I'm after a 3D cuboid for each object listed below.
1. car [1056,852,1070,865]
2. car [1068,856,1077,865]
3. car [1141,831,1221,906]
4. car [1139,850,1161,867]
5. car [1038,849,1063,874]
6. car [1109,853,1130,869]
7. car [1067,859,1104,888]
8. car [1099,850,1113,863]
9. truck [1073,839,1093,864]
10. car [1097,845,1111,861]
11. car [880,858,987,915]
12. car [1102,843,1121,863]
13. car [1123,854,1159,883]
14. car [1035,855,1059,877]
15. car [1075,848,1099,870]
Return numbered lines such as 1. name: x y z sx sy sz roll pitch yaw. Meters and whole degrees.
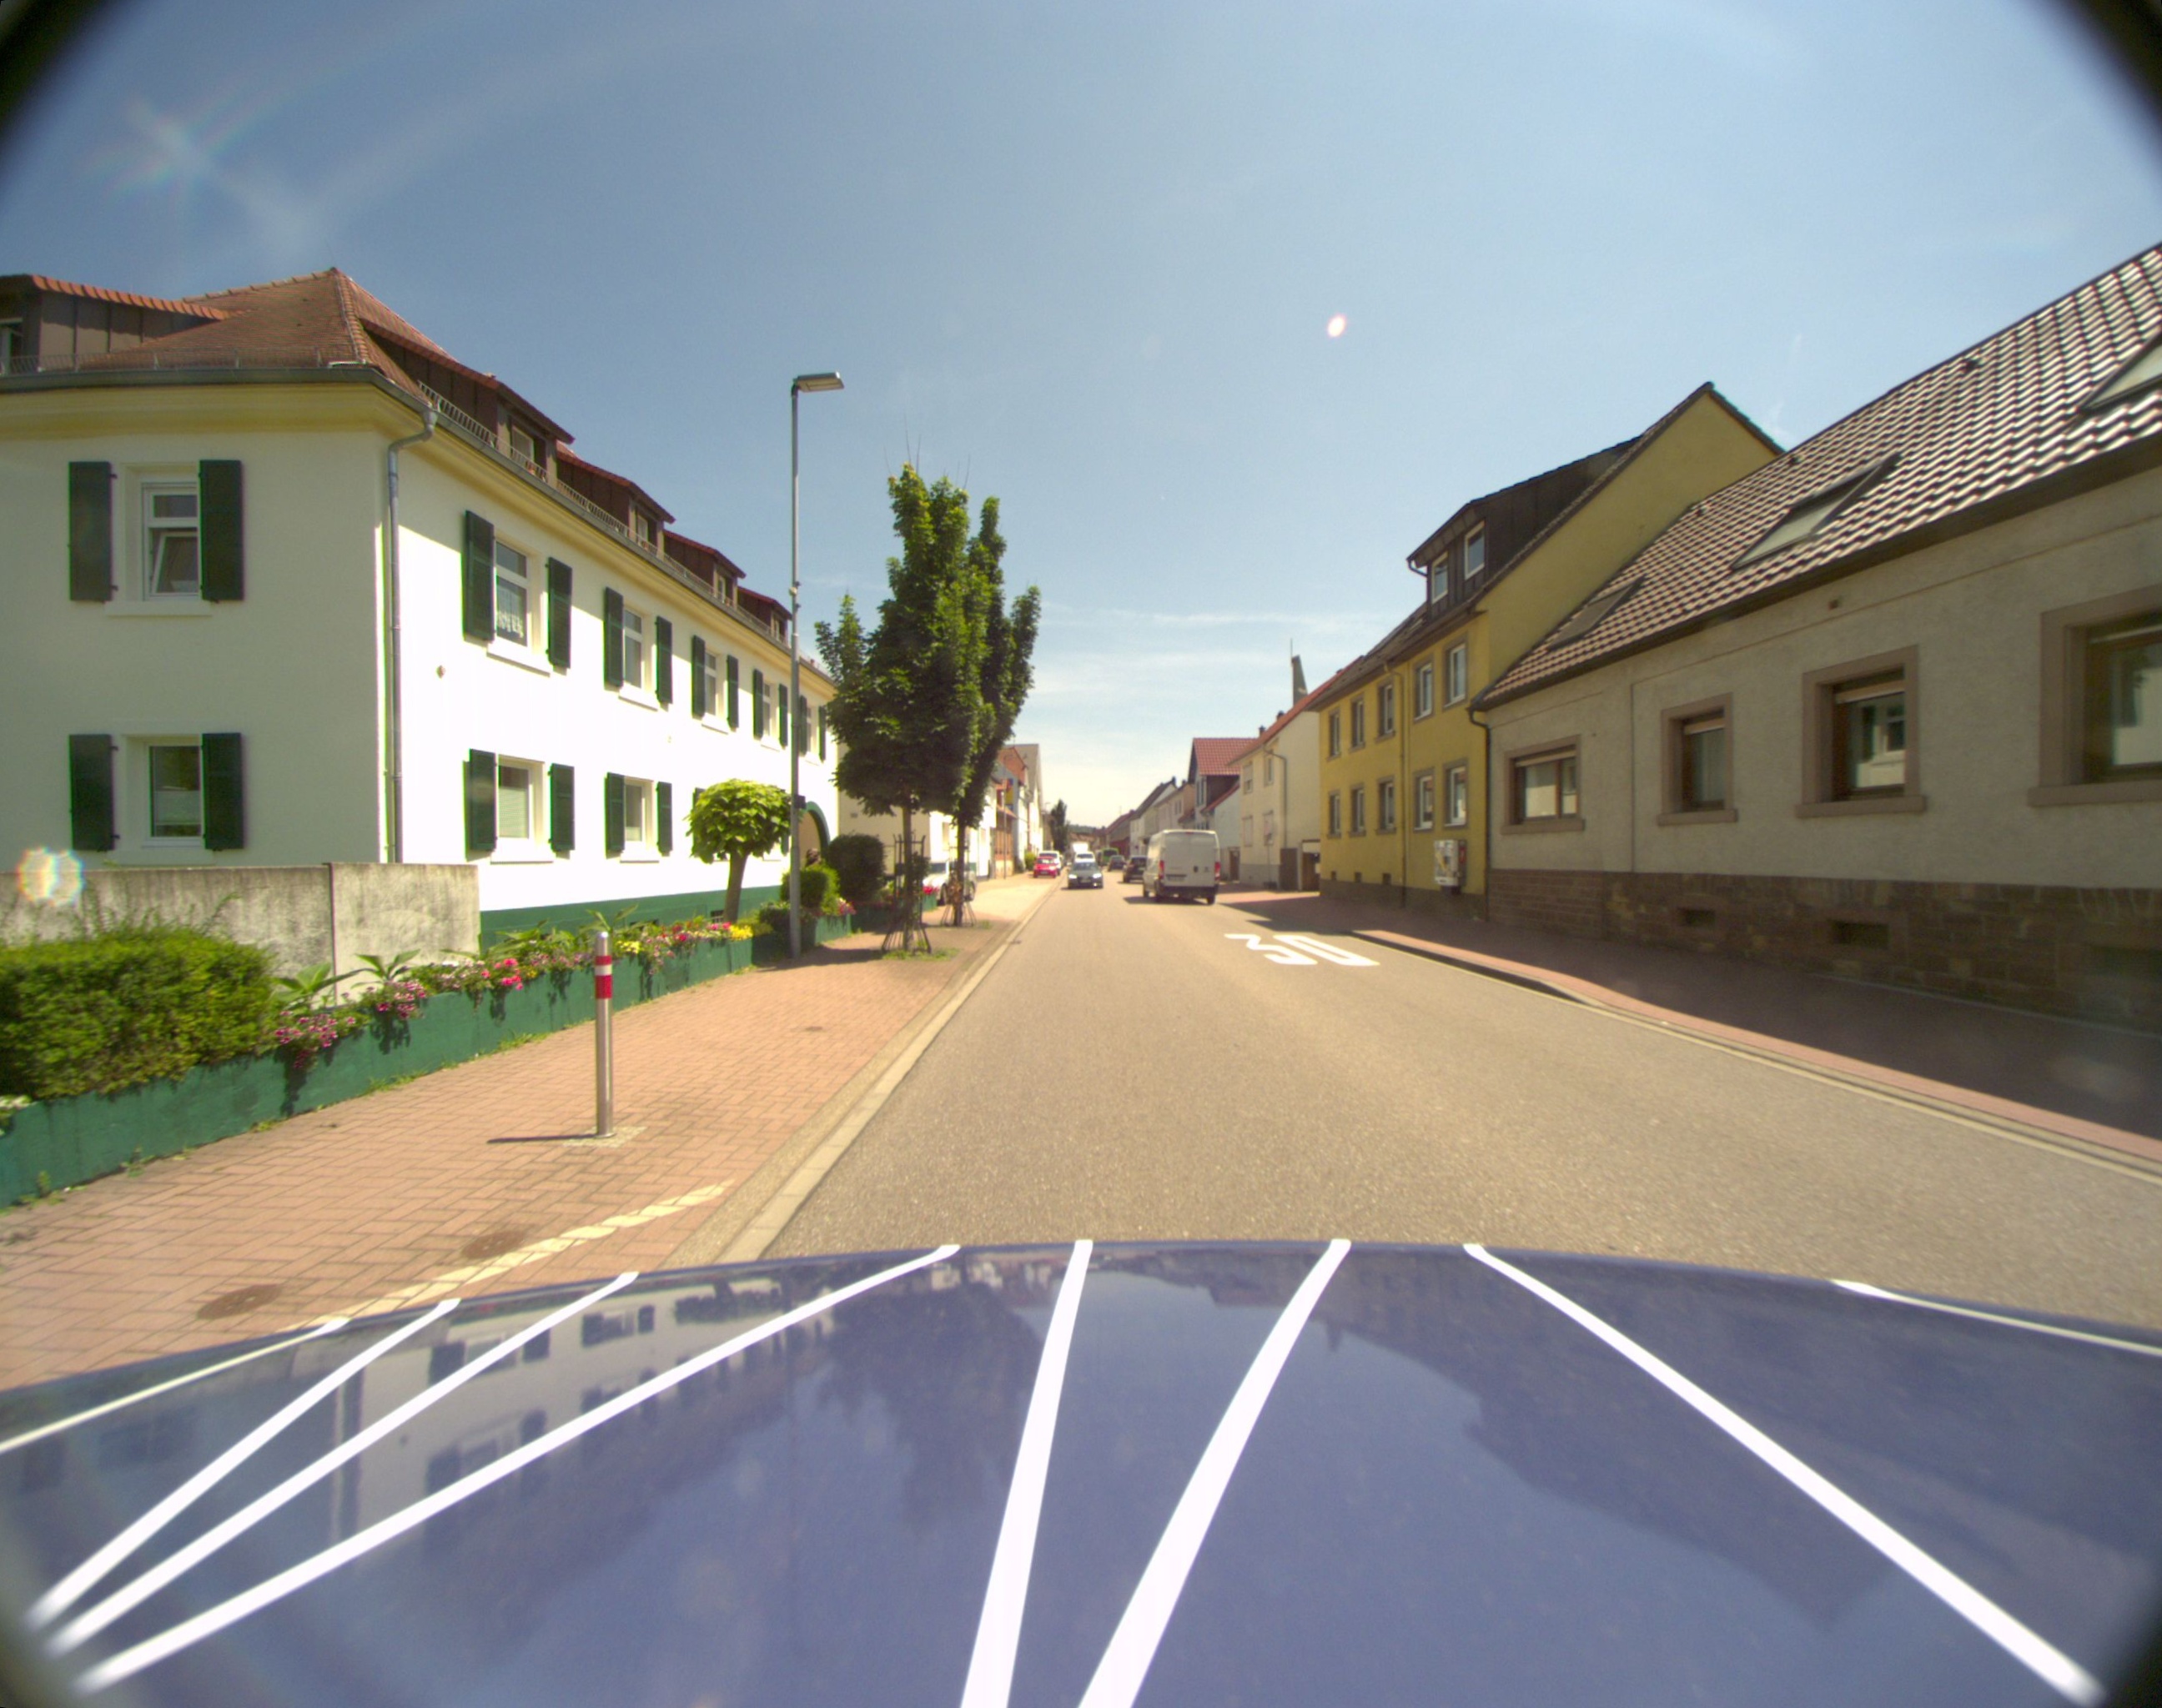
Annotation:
1. car: -2.413 0.611 103.002 1.807 1.604 4.548 1 -1 -1
2. car: -1.565 1.136 143.046 1.775 1.605 4.191 1 0 0
3. car: 3.511 0.469 27.834 2.075 2.441 6.007 1 0 -1
4. car: 7.065 0.441 78.392 1.813 1.548 4.564 -3 0 0
5. car: -2.500 0.608 62.709 1.951 1.959 4.784 0 0 -1
6. car: 3.735 0.663 74.029 1.769 1.527 4.078 1 0 0
7. car: 0.222 0.988 39.169 1.786 1.364 3.606 -1 0 0
8. car: 3.580 0.352 109.306 1.886 1.932 5.117 0 0 0
9. truck: 0.309 -0.362 109.812 2.867 3.491 8.319 0 0 0
10. car: 3.666 -0.156 122.644 2.130 2.527 5.461 0 0 1
11. car: -4.706 0.984 25.067 1.818 1.454 4.887 -5 0 9
12. car: 3.669 -0.143 91.369 2.056 2.340 6.081 0 0 0
13. car: 3.598 0.824 46.149 1.844 1.660 4.323 0 0 0
14. car: -2.475 0.829 55.523 1.614 1.519 3.676 0 0 -1
15. car: 0.564 0.455 70.359 2.079 1.949 5.518 -1 0 0
